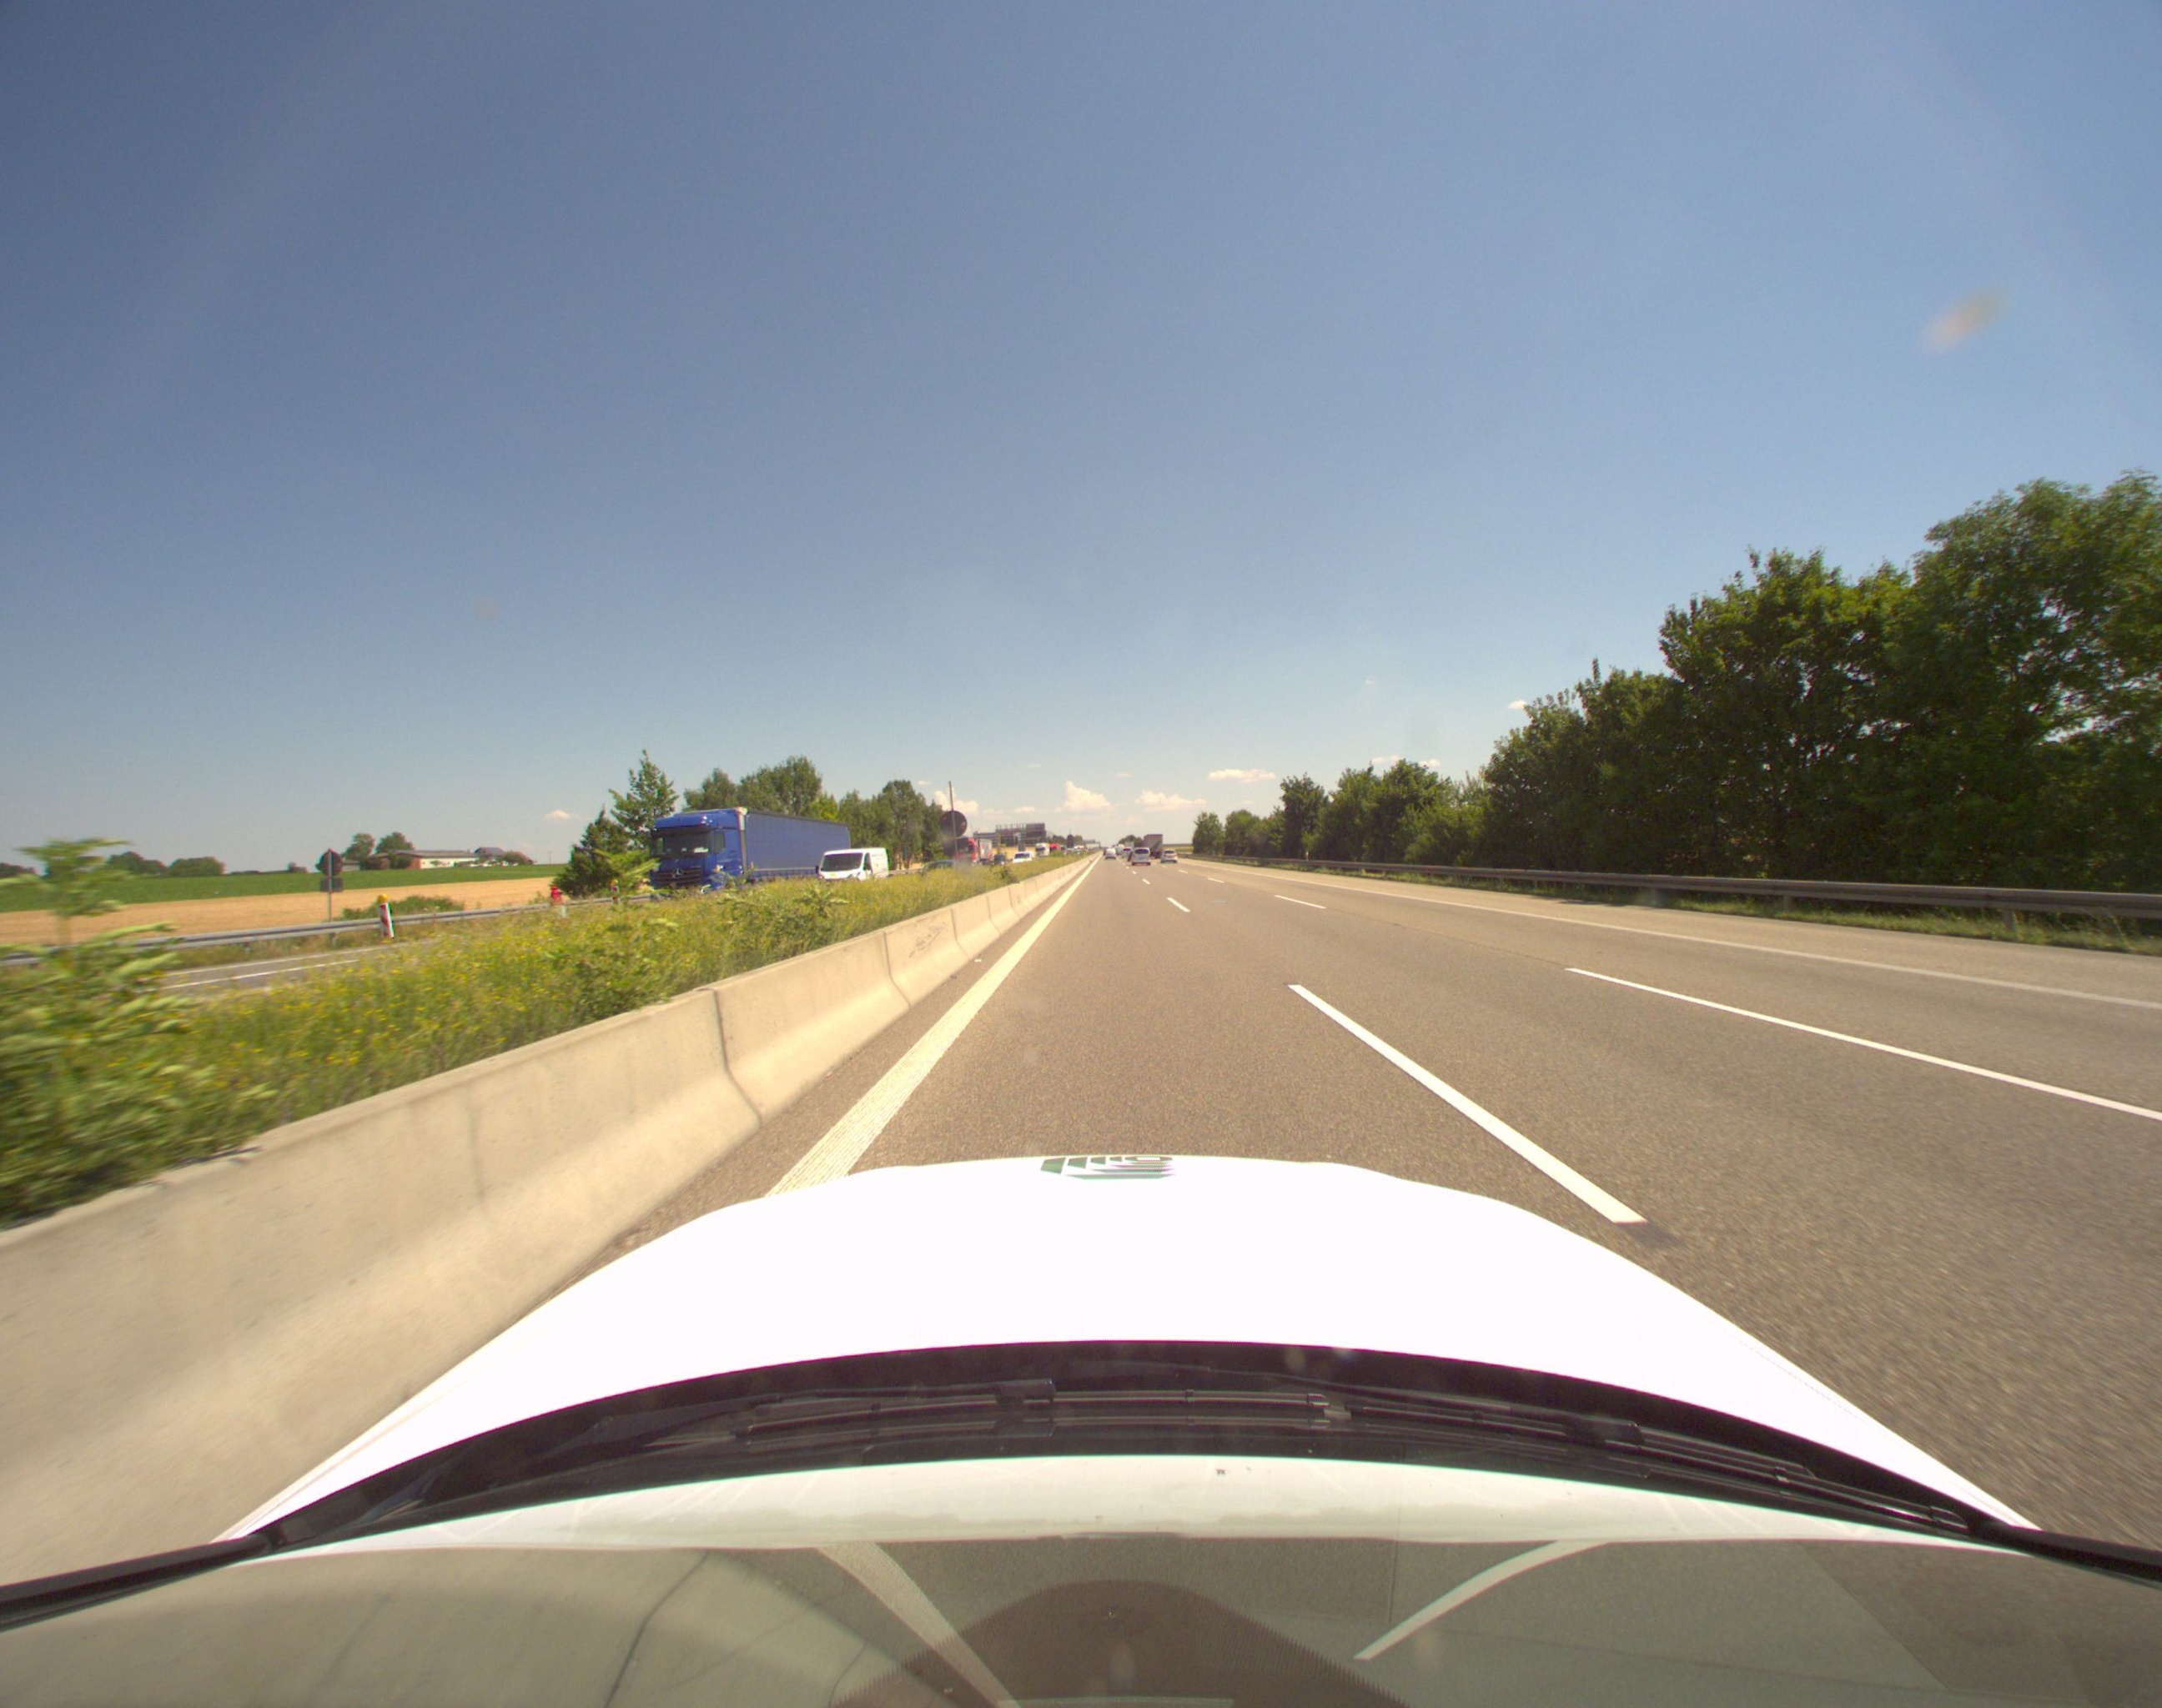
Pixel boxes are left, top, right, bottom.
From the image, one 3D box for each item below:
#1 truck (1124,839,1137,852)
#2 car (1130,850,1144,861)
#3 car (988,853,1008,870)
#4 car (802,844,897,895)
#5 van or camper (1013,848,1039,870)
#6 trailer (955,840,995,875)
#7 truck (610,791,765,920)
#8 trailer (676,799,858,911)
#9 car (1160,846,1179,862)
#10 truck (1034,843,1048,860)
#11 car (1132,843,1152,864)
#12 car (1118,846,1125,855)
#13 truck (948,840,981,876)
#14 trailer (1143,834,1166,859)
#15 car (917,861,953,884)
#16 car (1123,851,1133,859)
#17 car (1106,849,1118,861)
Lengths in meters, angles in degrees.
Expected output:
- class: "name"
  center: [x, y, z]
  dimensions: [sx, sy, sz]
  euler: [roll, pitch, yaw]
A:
- class: "truck"
  center: [15.862, -2.552, 261.154]
  dimensions: [3.802, 3.905, 9.583]
  euler: [-2, 0, 1]
- class: "car"
  center: [7.871, 0.181, 114.406]
  dimensions: [1.767, 1.447, 4.001]
  euler: [-1, -1, 2]
- class: "car"
  center: [-9.198, 0.817, 90.450]
  dimensions: [1.688, 1.727, 4.262]
  euler: [-2, 0, 1]
- class: "car"
  center: [-10.188, 0.616, 36.400]
  dimensions: [2.175, 2.013, 5.768]
  euler: [-2, 0, 4]
- class: "van or camper"
  center: [-5.270, 0.446, 78.273]
  dimensions: [1.987, 1.933, 5.202]
  euler: [-2, 0, 1]
- class: "trailer"
  center: [-13.043, 0.414, 101.017]
  dimensions: [2.845, 3.855, 12.189]
  euler: [-3, 0, 2]
- class: "truck"
  center: [-14.649, 0.056, 30.854]
  dimensions: [2.854, 4.350, 5.588]
  euler: [-2, 0, 2]
- class: "trailer"
  center: [-14.338, 0.043, 39.178]
  dimensions: [2.872, 4.350, 13.649]
  euler: [-2, 0, 2]
- class: "car"
  center: [10.702, -0.014, 98.667]
  dimensions: [1.986, 1.794, 4.001]
  euler: [-1, -1, 2]
- class: "truck"
  center: [-10.208, -0.527, 210.059]
  dimensions: [2.939, 4.158, 5.472]
  euler: [-3, 0, 1]
- class: "car"
  center: [6.441, -0.005, 86.487]
  dimensions: [1.986, 2.120, 4.001]
  euler: [-1, -1, 2]
- class: "car"
  center: [10.345, -0.876, 207.300]
  dimensions: [1.767, 2.392, 4.001]
  euler: [-1, -1, 2]
- class: "truck"
  center: [-13.272, 0.421, 92.922]
  dimensions: [2.846, 3.855, 4.001]
  euler: [-3, 0, 1]
- class: "trailer"
  center: [12.296, -1.224, 137.675]
  dimensions: [3.265, 3.967, 9.115]
  euler: [-1, -1, 2]
- class: "car"
  center: [-9.993, 1.243, 55.982]
  dimensions: [1.611, 1.464, 3.865]
  euler: [-2, 0, 1]
- class: "car"
  center: [8.847, 0.208, 154.434]
  dimensions: [1.767, 1.447, 4.001]
  euler: [-1, -1, 2]
- class: "car"
  center: [5.161, 0.196, 137.201]
  dimensions: [1.986, 2.014, 4.001]
  euler: [-1, -1, 2]
